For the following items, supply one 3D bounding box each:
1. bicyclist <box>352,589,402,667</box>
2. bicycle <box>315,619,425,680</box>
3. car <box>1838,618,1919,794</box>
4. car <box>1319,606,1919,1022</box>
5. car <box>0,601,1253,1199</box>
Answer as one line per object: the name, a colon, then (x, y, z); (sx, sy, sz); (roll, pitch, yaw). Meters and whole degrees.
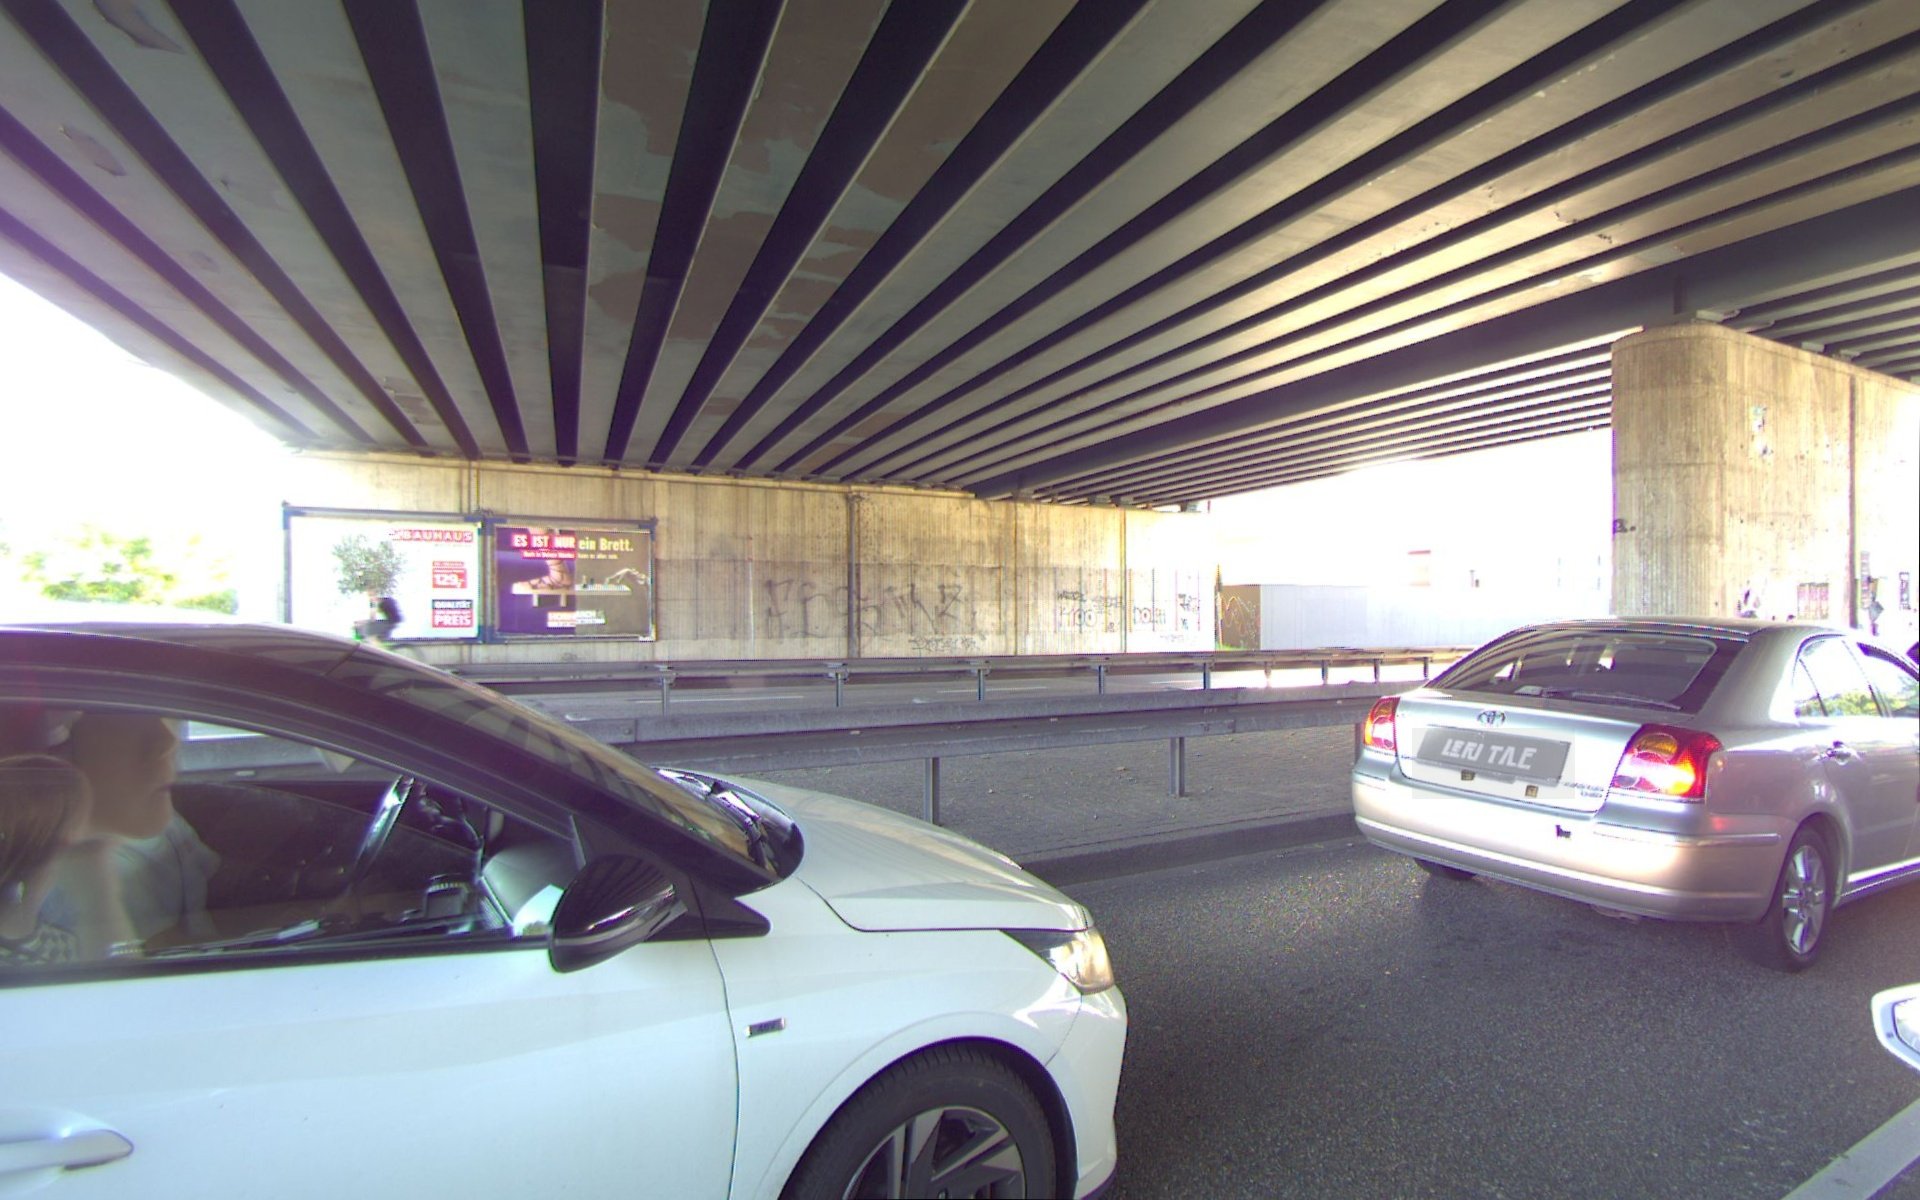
bicyclist: (-11.794, 0.555, 20.324); (0.827, 1.545, 0.624); (2, 0, -30)
bicycle: (-11.877, 0.993, 20.280); (1.856, 1.181, 0.631); (2, 0, -30)
car: (9.616, 0.908, 8.889); (3.769, 1.429, 1.684); (1, 0, -31)
car: (4.109, 0.814, 5.474); (4.347, 1.474, 1.688); (1, 0, -31)
car: (-1.421, 0.722, 1.982); (3.827, 1.422, 1.723); (1, -1, -31)
